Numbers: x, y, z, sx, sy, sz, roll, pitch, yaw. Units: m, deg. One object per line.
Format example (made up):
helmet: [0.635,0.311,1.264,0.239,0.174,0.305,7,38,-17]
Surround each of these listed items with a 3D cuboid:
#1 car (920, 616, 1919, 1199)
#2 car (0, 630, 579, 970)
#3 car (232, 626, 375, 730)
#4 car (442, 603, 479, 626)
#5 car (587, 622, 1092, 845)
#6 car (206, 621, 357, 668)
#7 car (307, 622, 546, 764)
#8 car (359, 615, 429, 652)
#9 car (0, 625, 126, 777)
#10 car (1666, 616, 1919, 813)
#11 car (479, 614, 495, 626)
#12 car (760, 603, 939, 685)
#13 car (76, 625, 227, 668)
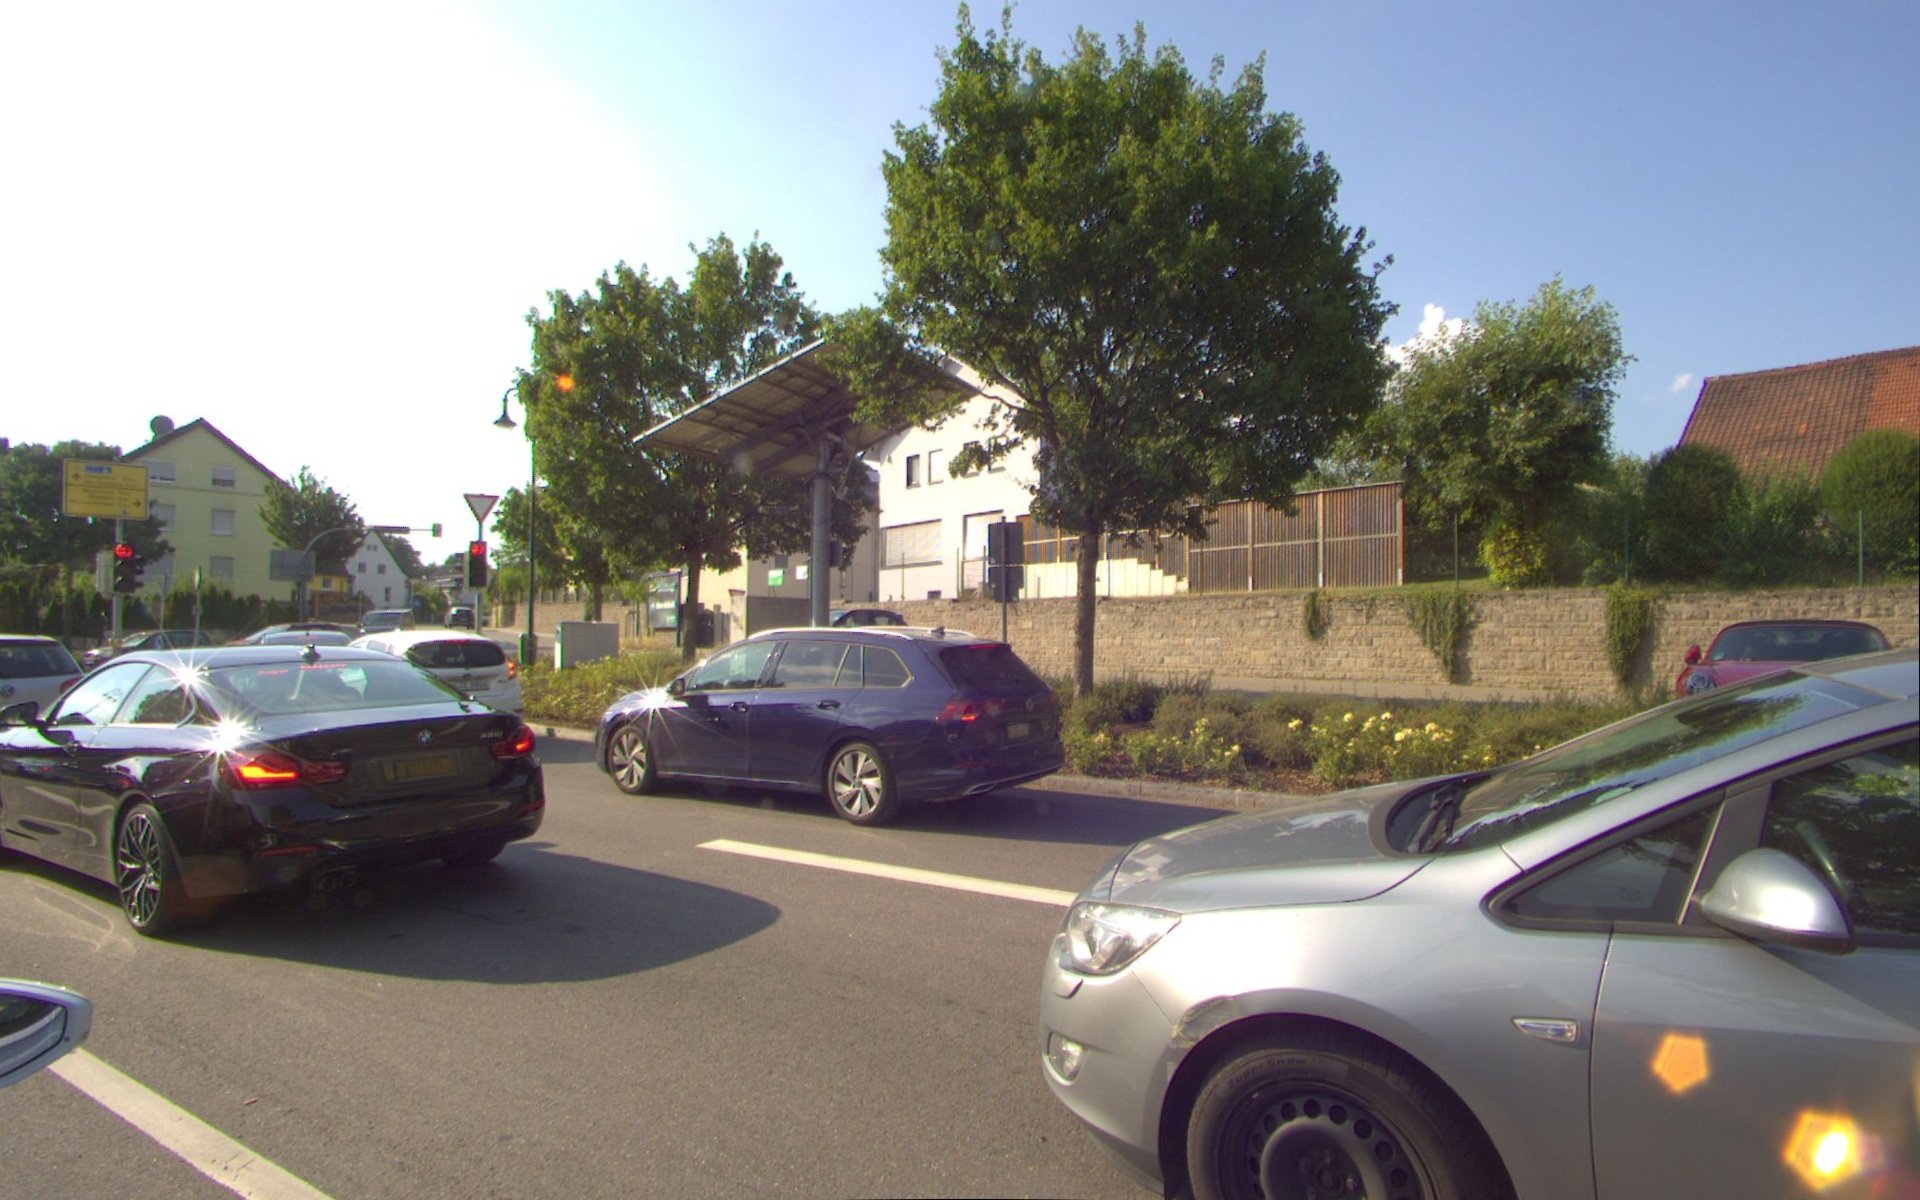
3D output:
car: [2.166,0.782,2.169,4.256,1.472,1.758,-1,0,31]
car: [-4.442,0.914,6.194,4.220,1.416,1.758,-1,0,33]
car: [-11.761,1.270,17.822,1.643,1.562,4.362,-1,0,-40]
car: [-38.944,1.133,77.996,1.946,1.701,4.187,0,-1,-35]
car: [-1.162,0.948,8.679,4.259,1.472,1.757,-1,0,34]
car: [-25.522,1.645,37.851,1.818,1.662,4.418,0,-2,25]
car: [-6.925,1.080,12.895,3.278,1.562,1.611,-1,0,40]
car: [-28.379,1.671,50.382,1.814,1.761,4.780,1,-2,-14]
car: [-10.813,1.011,10.787,3.848,1.444,1.758,-1,0,33]
car: [8.218,0.951,9.753,1.758,1.510,4.120,-1,-2,41]
car: [-65.288,2.776,138.270,1.939,1.701,4.201,0,-1,-23]
car: [-2.385,0.960,22.305,1.758,1.653,3.800,-1,-2,40]
car: [-30.080,1.716,37.371,1.821,1.508,3.983,-1,-2,30]
